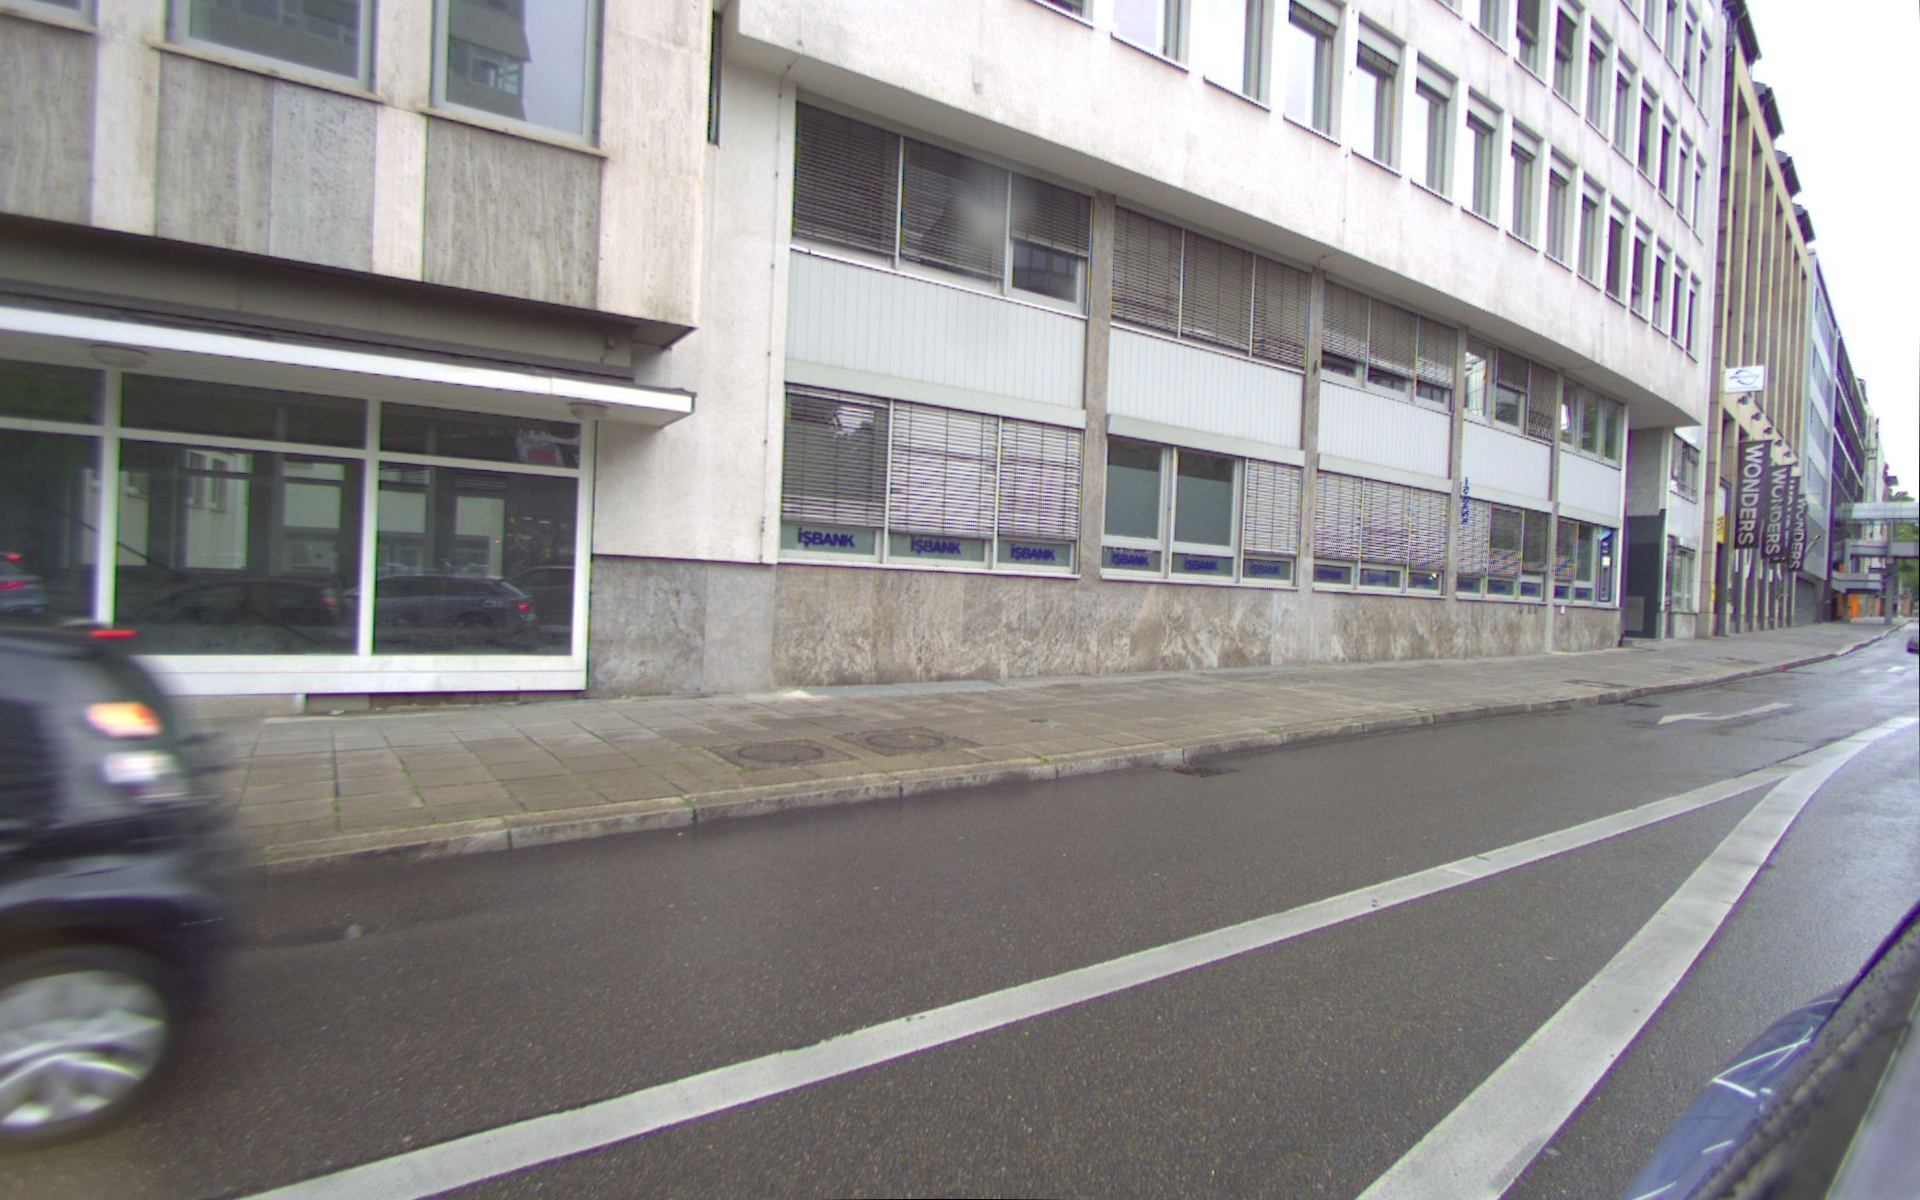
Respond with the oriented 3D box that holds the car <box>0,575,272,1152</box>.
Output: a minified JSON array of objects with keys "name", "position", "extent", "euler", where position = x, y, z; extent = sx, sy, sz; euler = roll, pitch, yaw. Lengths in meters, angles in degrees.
[{"name":"car","position":[-3.877,0.660,2.631],"extent":[3.417,1.491,1.667],"euler":[1,0,-36]}]
